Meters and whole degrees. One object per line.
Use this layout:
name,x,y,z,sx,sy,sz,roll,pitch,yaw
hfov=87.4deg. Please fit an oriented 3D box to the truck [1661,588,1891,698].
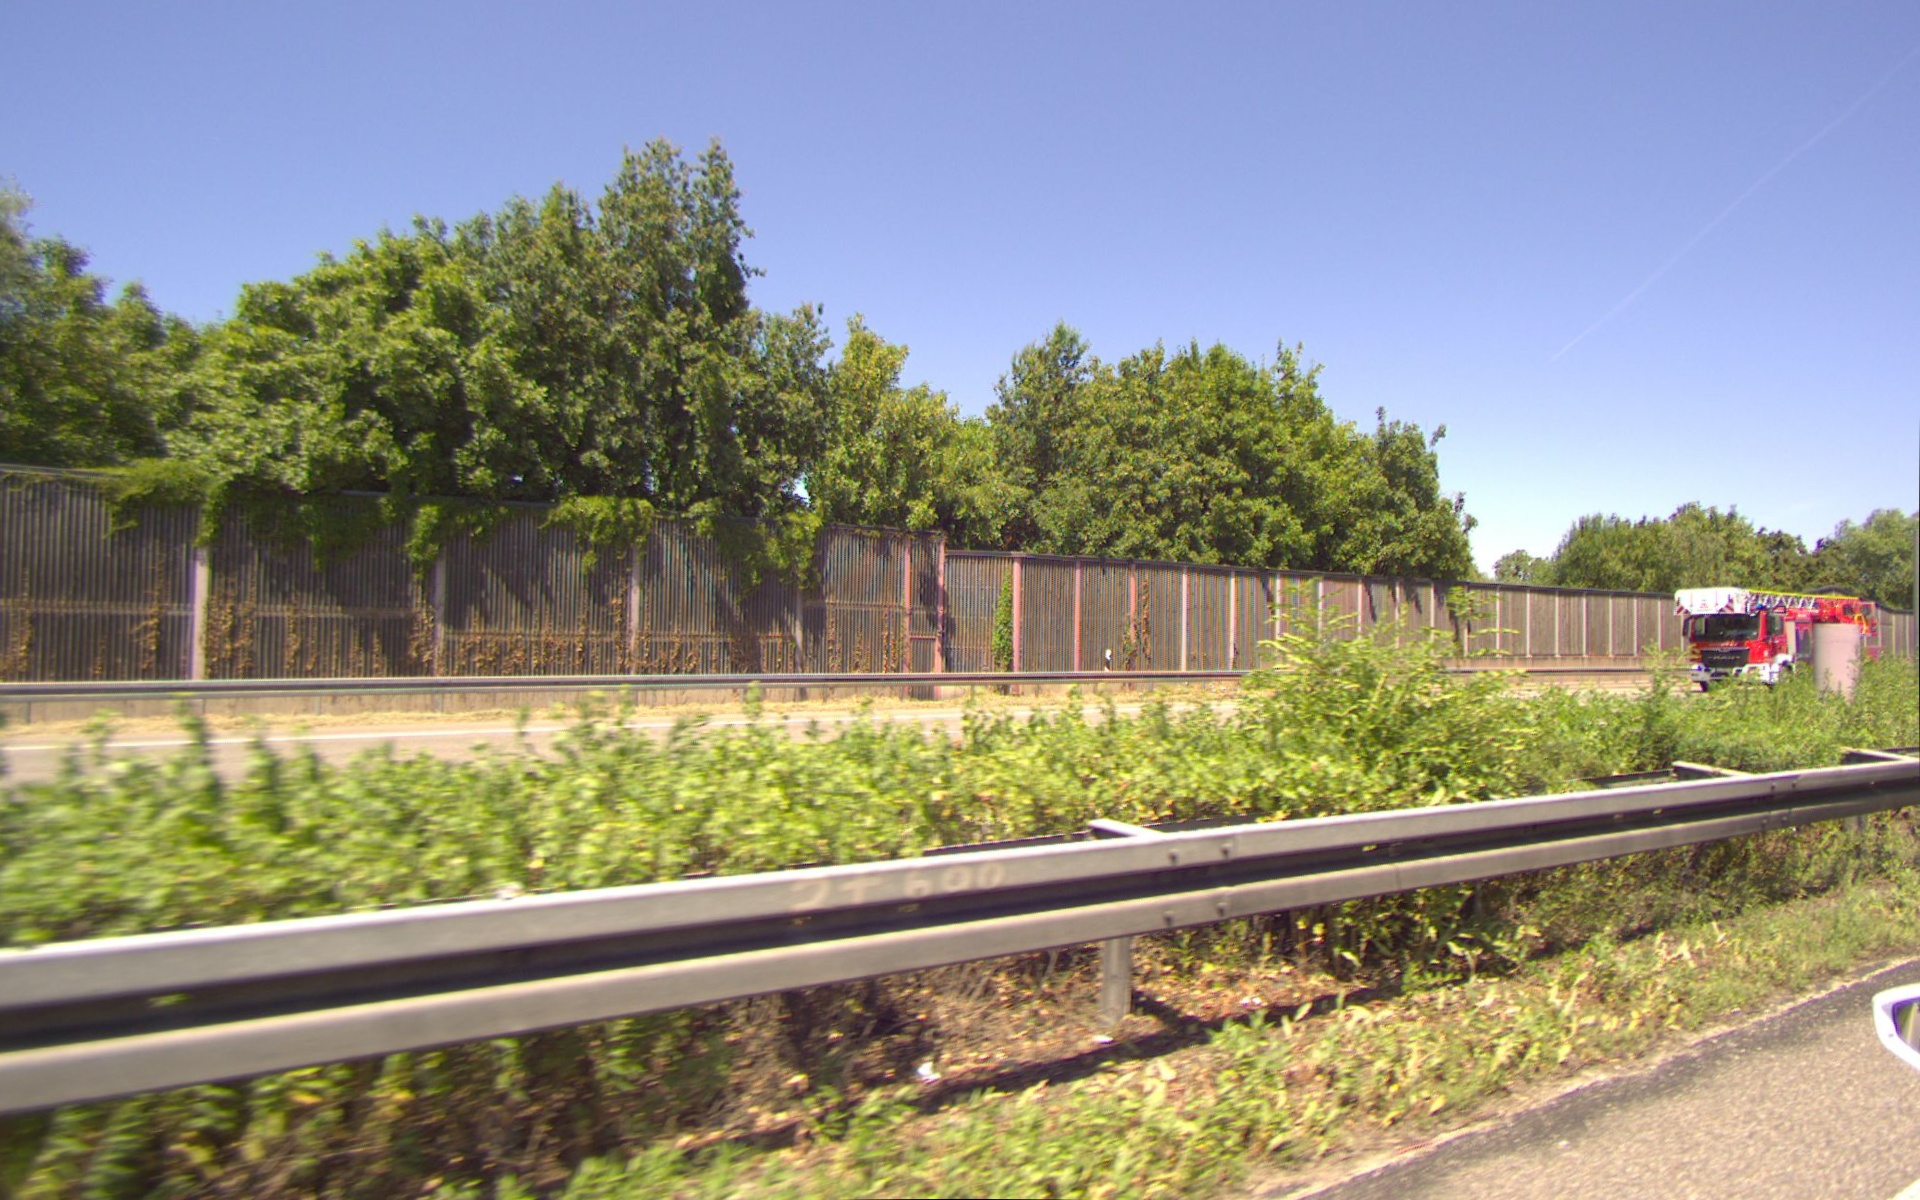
truck,29.431,1.536,36.023,10.724,3.538,2.687,2,0,-30
